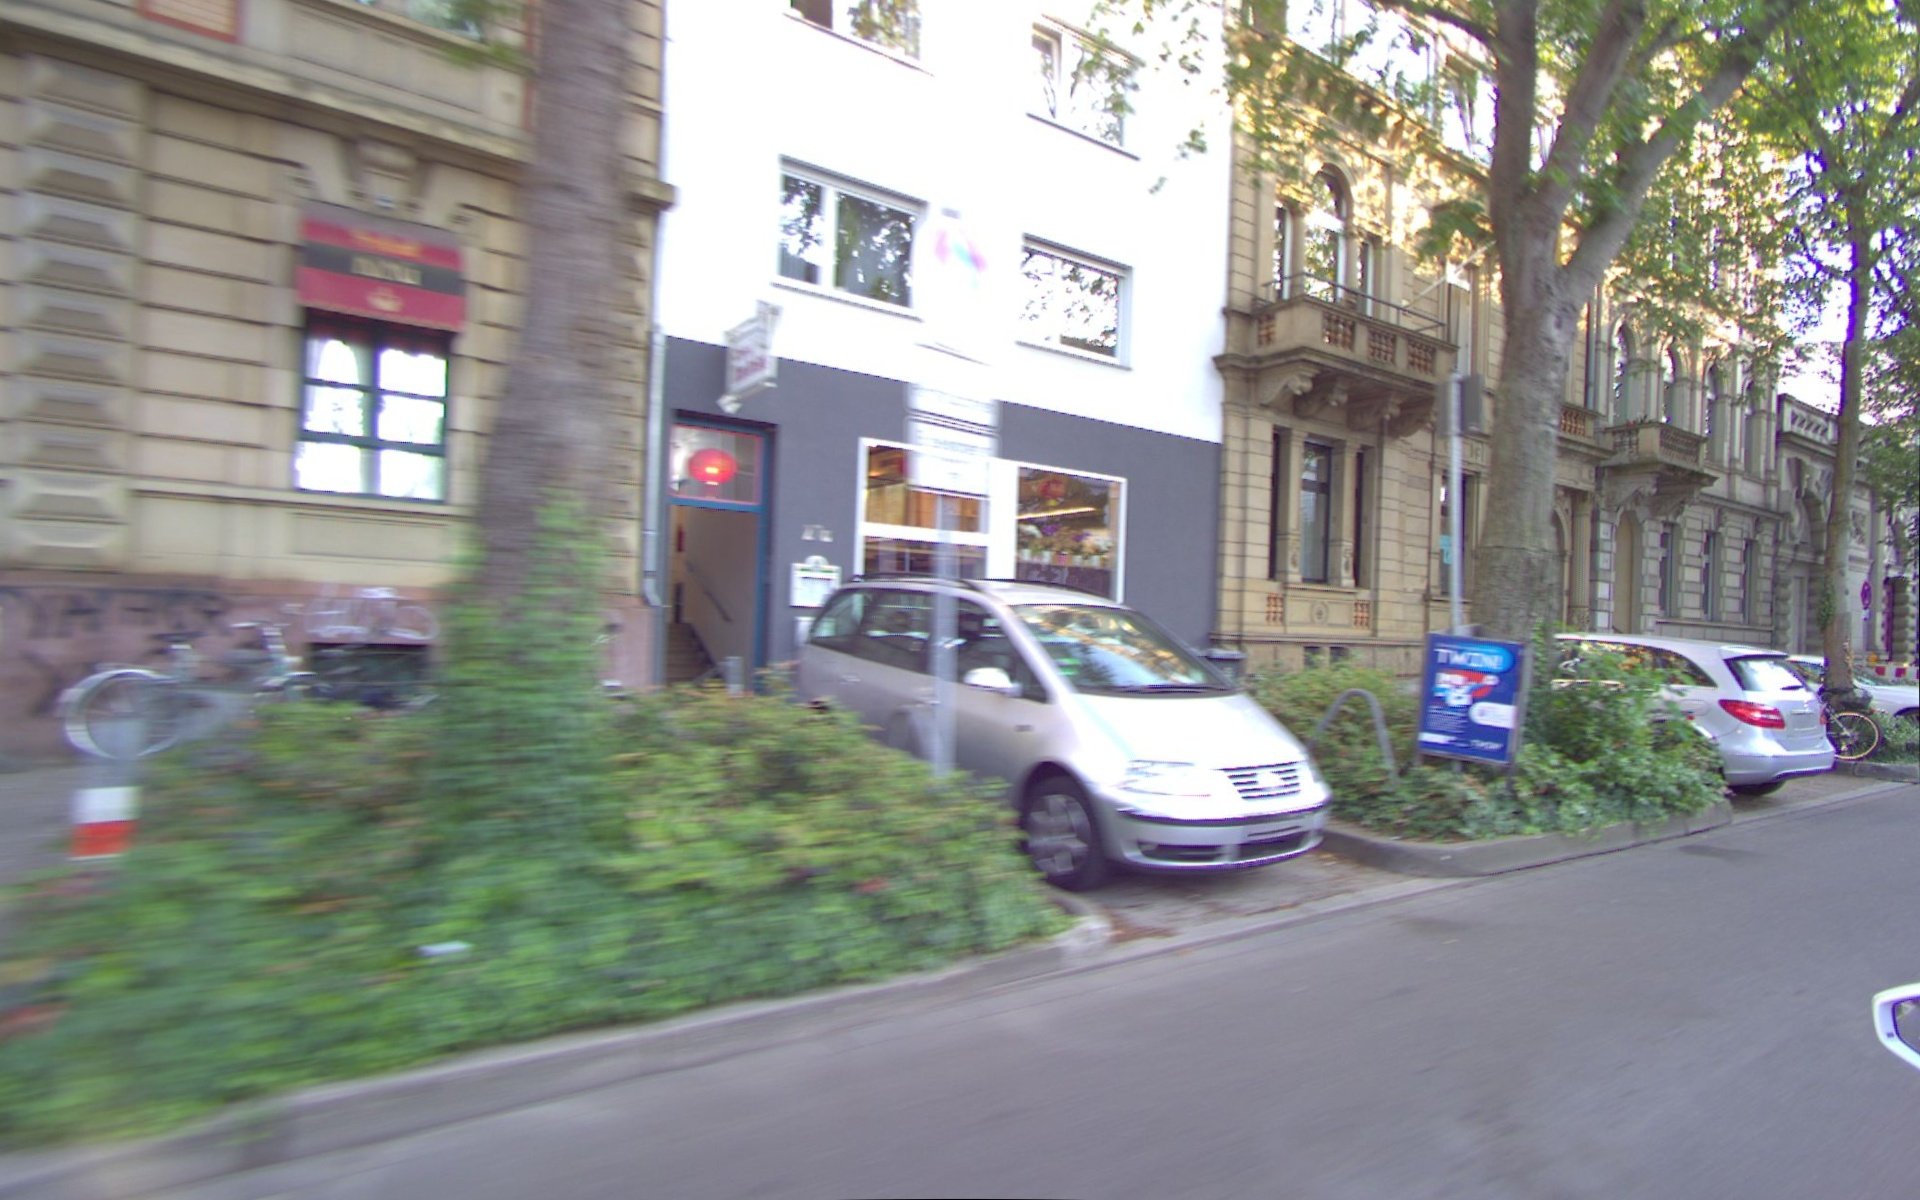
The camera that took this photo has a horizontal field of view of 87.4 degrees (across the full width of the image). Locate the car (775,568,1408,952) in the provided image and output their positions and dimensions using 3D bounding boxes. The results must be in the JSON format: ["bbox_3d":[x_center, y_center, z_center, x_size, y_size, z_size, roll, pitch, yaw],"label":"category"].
[{"bbox_3d":[0.536,0.743,7.092,1.873,1.745,4.393,3,1,-36],"label":"car"}]

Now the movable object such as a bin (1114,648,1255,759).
[{"bbox_3d":[2.405,1.077,10.732,1.304,1.076,0.769,3,-1,-35],"label":"movable object such as a bin"}]

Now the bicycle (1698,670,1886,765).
[{"bbox_3d":[10.926,1.509,13.254,0.592,1.022,1.783,3,0,-33],"label":"bicycle"}]

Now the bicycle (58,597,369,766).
[{"bbox_3d":[-5.495,0.590,7.512,1.783,1.122,0.495,3,2,-36],"label":"bicycle"}]

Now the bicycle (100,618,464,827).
[{"bbox_3d":[-4.138,0.716,6.262,1.783,1.122,0.495,3,2,-36],"label":"bicycle"}]

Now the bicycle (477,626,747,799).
[{"bbox_3d":[-2.535,0.793,7.436,1.783,1.122,0.495,3,2,-36],"label":"bicycle"}]

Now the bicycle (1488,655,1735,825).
[{"bbox_3d":[6.097,1.243,9.479,0.768,1.344,1.779,3,-1,-40],"label":"bicycle"}]

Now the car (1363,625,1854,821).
[{"bbox_3d":[6.812,1.166,11.037,1.806,1.577,4.148,3,-1,-31],"label":"car"}]

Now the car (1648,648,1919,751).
[{"bbox_3d":[14.884,1.676,17.408,1.896,1.408,4.488,3,-1,-32],"label":"car"}]
